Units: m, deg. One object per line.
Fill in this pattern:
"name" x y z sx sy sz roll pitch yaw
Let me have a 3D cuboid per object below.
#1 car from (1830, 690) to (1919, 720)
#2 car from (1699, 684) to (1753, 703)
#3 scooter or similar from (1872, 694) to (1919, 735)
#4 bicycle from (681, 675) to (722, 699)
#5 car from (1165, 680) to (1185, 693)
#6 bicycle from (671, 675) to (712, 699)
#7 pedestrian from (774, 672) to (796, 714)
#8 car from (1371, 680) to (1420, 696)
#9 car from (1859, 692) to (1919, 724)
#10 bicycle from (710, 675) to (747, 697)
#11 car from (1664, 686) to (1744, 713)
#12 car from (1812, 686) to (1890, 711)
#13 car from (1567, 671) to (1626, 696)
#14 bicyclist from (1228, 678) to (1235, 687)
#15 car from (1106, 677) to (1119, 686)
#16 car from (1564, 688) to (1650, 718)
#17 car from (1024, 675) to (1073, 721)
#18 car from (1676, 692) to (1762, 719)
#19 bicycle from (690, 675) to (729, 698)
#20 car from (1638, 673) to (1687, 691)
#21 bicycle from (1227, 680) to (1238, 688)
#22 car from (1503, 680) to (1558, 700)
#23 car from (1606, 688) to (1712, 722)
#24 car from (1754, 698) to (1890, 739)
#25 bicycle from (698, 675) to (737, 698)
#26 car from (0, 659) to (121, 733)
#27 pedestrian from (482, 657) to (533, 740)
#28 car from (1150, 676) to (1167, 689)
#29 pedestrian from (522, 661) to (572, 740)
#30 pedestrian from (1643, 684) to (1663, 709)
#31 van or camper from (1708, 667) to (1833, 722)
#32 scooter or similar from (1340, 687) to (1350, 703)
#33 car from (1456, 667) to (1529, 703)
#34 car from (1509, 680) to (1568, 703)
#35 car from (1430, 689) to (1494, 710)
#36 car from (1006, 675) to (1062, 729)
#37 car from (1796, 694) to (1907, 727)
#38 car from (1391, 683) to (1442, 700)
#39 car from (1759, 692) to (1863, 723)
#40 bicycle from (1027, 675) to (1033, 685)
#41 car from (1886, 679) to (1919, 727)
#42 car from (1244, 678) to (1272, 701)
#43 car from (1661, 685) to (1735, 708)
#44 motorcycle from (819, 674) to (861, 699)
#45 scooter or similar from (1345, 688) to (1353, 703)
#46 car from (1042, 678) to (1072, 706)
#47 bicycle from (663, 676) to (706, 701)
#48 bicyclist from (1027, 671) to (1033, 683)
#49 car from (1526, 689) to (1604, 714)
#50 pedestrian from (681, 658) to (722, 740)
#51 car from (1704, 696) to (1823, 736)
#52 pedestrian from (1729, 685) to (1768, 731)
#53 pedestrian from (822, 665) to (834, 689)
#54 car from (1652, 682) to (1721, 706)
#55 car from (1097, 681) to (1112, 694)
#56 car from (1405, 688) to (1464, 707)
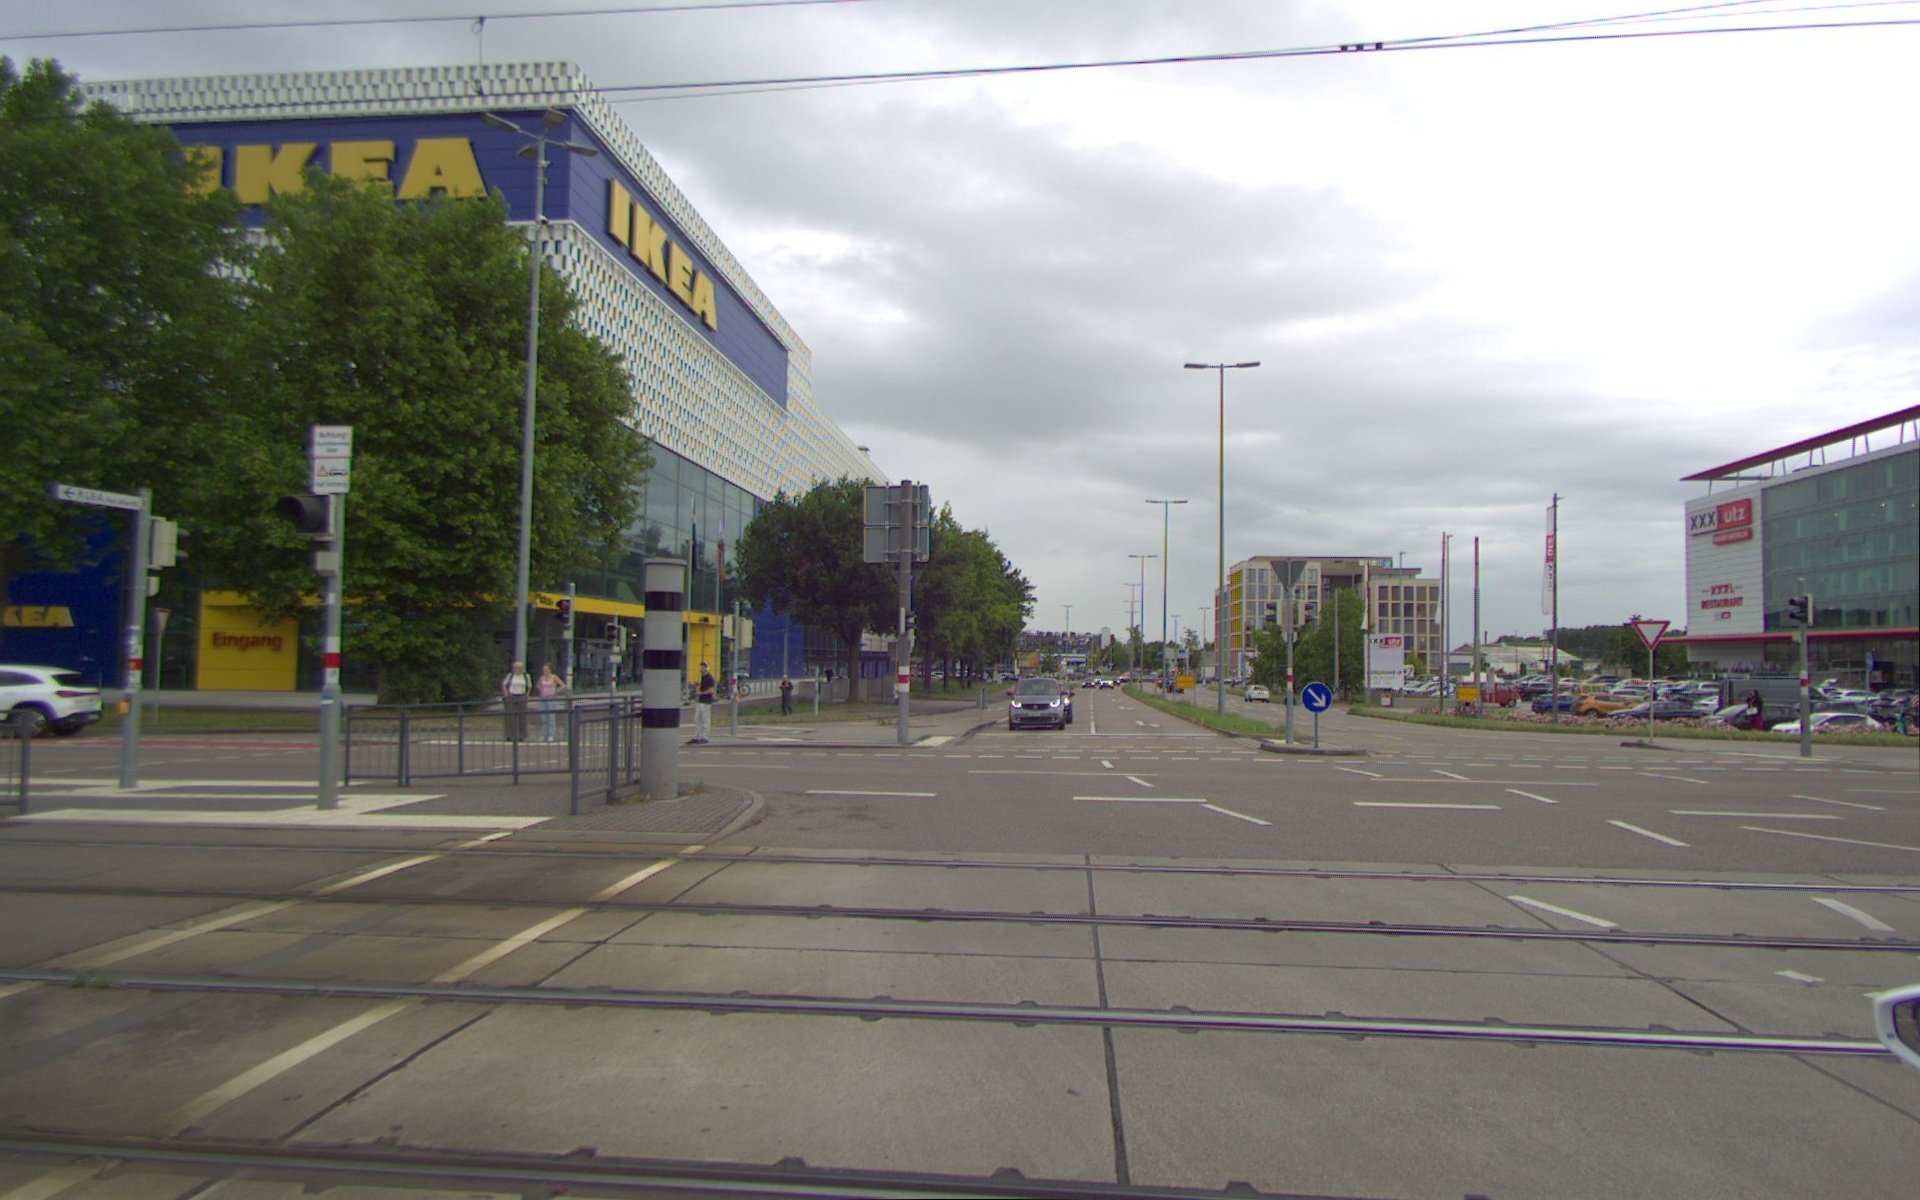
"car" 53.499 6.093 58.477 3.919 1.575 1.857 1 -4 9
"car" 67.521 8.253 88.572 3.484 1.575 1.503 0 -4 9
"scooter or similar" 30.058 3.671 32.176 0.342 1.248 1.156 5 -6 -30
"bicycle" -14.004 4.711 54.448 1.981 1.171 0.594 2 -3 6
"car" 25.467 10.217 119.114 1.953 1.446 4.246 1 -5 7
"bicycle" -14.250 4.621 53.369 1.981 1.171 0.594 2 -3 6
"pedestrian" -7.105 3.769 40.856 0.622 1.663 0.810 1 -5 5
"car" 43.136 8.684 99.498 4.081 1.368 1.811 1 -2 7
"car" 52.801 6.005 55.735 3.919 1.691 1.888 0 -4 10
"bicycle" -13.427 4.988 58.287 1.984 1.171 0.593 3 -3 -5
"car" 49.316 6.603 66.663 3.825 1.675 1.833 -1 -3 6
"car" 65.495 7.228 73.863 3.919 1.676 1.836 1 -4 6
"car" 51.412 6.721 81.170 3.672 1.791 1.735 1 -2 10
"bicyclist" 47.055 14.232 174.270 0.693 1.523 0.993 3 -3 -27
"car" 24.481 13.113 161.799 1.898 1.505 4.444 -1 -4 7
"car" 38.778 6.163 60.316 3.919 1.664 1.817 0 -4 13
"car" 3.209 3.464 35.970 1.633 1.522 4.070 0 -5 6
"car" 48.392 6.704 64.136 3.919 1.572 1.866 1 -4 10
"bicycle" -13.847 4.761 55.543 1.981 1.171 0.594 2 -3 6
"car" 69.054 8.076 98.755 3.508 1.607 1.741 1 -4 13
"bicycle" 47.152 14.582 174.054 0.693 1.312 1.998 3 -3 -27
"car" 53.037 8.391 93.478 4.101 1.685 1.835 1 -4 11
"car" 37.907 5.667 54.560 4.449 1.604 1.771 1 -2 7
"car" 36.458 5.010 42.573 4.036 1.465 1.877 1 -2 7
"bicycle" -13.688 4.884 56.636 1.981 1.171 0.594 2 -3 6
"car" -22.044 2.136 22.627 4.348 1.605 1.884 4 -6 -22
"pedestrian" -10.210 2.222 22.676 0.662 1.820 0.767 1 -5 4
"car" 30.224 12.529 152.708 1.960 2.039 4.003 0 -4 3
"pedestrian" -9.376 2.270 22.828 0.662 1.733 0.767 0 -4 11
"pedestrian" 50.697 7.067 73.480 0.923 1.742 0.886 1 -2 7
"van or camper" 47.643 5.534 59.186 5.290 3.022 1.993 0 -4 16
"scooter or similar" 34.303 8.470 89.484 0.639 1.439 1.820 0 -5 17
"car" 42.389 6.769 80.068 4.642 2.613 2.172 1 -2 10
"car" 52.389 8.283 91.075 4.238 1.766 1.890 1 -2 11
"car" 41.688 8.243 83.500 4.299 1.480 1.962 1 -2 10
"car" 2.303 3.068 30.653 1.575 1.522 3.213 -1 -4 6
"car" 47.644 5.878 53.784 3.919 1.575 1.949 0 -4 14
"car" 42.420 8.505 93.461 3.985 1.368 1.836 1 -2 7
"car" 47.650 6.008 56.344 3.919 1.588 2.002 0 -4 9
"bicycle" 9.511 10.900 136.909 0.632 1.267 2.058 2 -3 7
"car" 46.819 4.794 46.786 4.949 2.193 2.124 0 -4 13
"car" 27.179 8.139 91.816 1.959 1.775 4.183 1 -2 10
"car" 55.336 7.252 75.365 4.166 1.488 1.741 1 -2 10
"motorcycle" -7.242 5.214 60.652 2.453 1.373 0.800 3 -3 -5
"scooter or similar" 32.102 7.852 82.948 0.364 1.206 1.249 0 -3 8
"car" 5.609 5.314 58.024 1.575 1.516 4.042 -1 -5 7
"bicycle" -14.247 4.558 51.964 1.985 1.171 0.593 3 -3 -9
"bicyclist" 9.549 10.517 136.945 0.629 1.597 1.001 2 -3 7
"car" 39.284 6.564 65.254 3.919 1.474 1.817 1 -4 9
"pedestrian" -5.776 2.219 22.483 0.651 1.786 0.688 -1 -7 5
"car" 37.568 5.407 47.054 4.022 1.604 1.771 1 -2 8
"pedestrian" 28.364 3.871 36.138 0.771 1.617 0.715 3 -6 -16
"pedestrian" -10.151 5.920 77.276 0.665 1.768 0.809 1 -3 8
"car" 56.233 7.276 77.777 3.919 1.655 1.789 1 -4 10
"car" 18.816 11.360 130.514 1.898 1.538 4.187 -2 -5 8
"car" 42.099 8.643 89.241 4.389 1.438 1.868 1 -2 10
